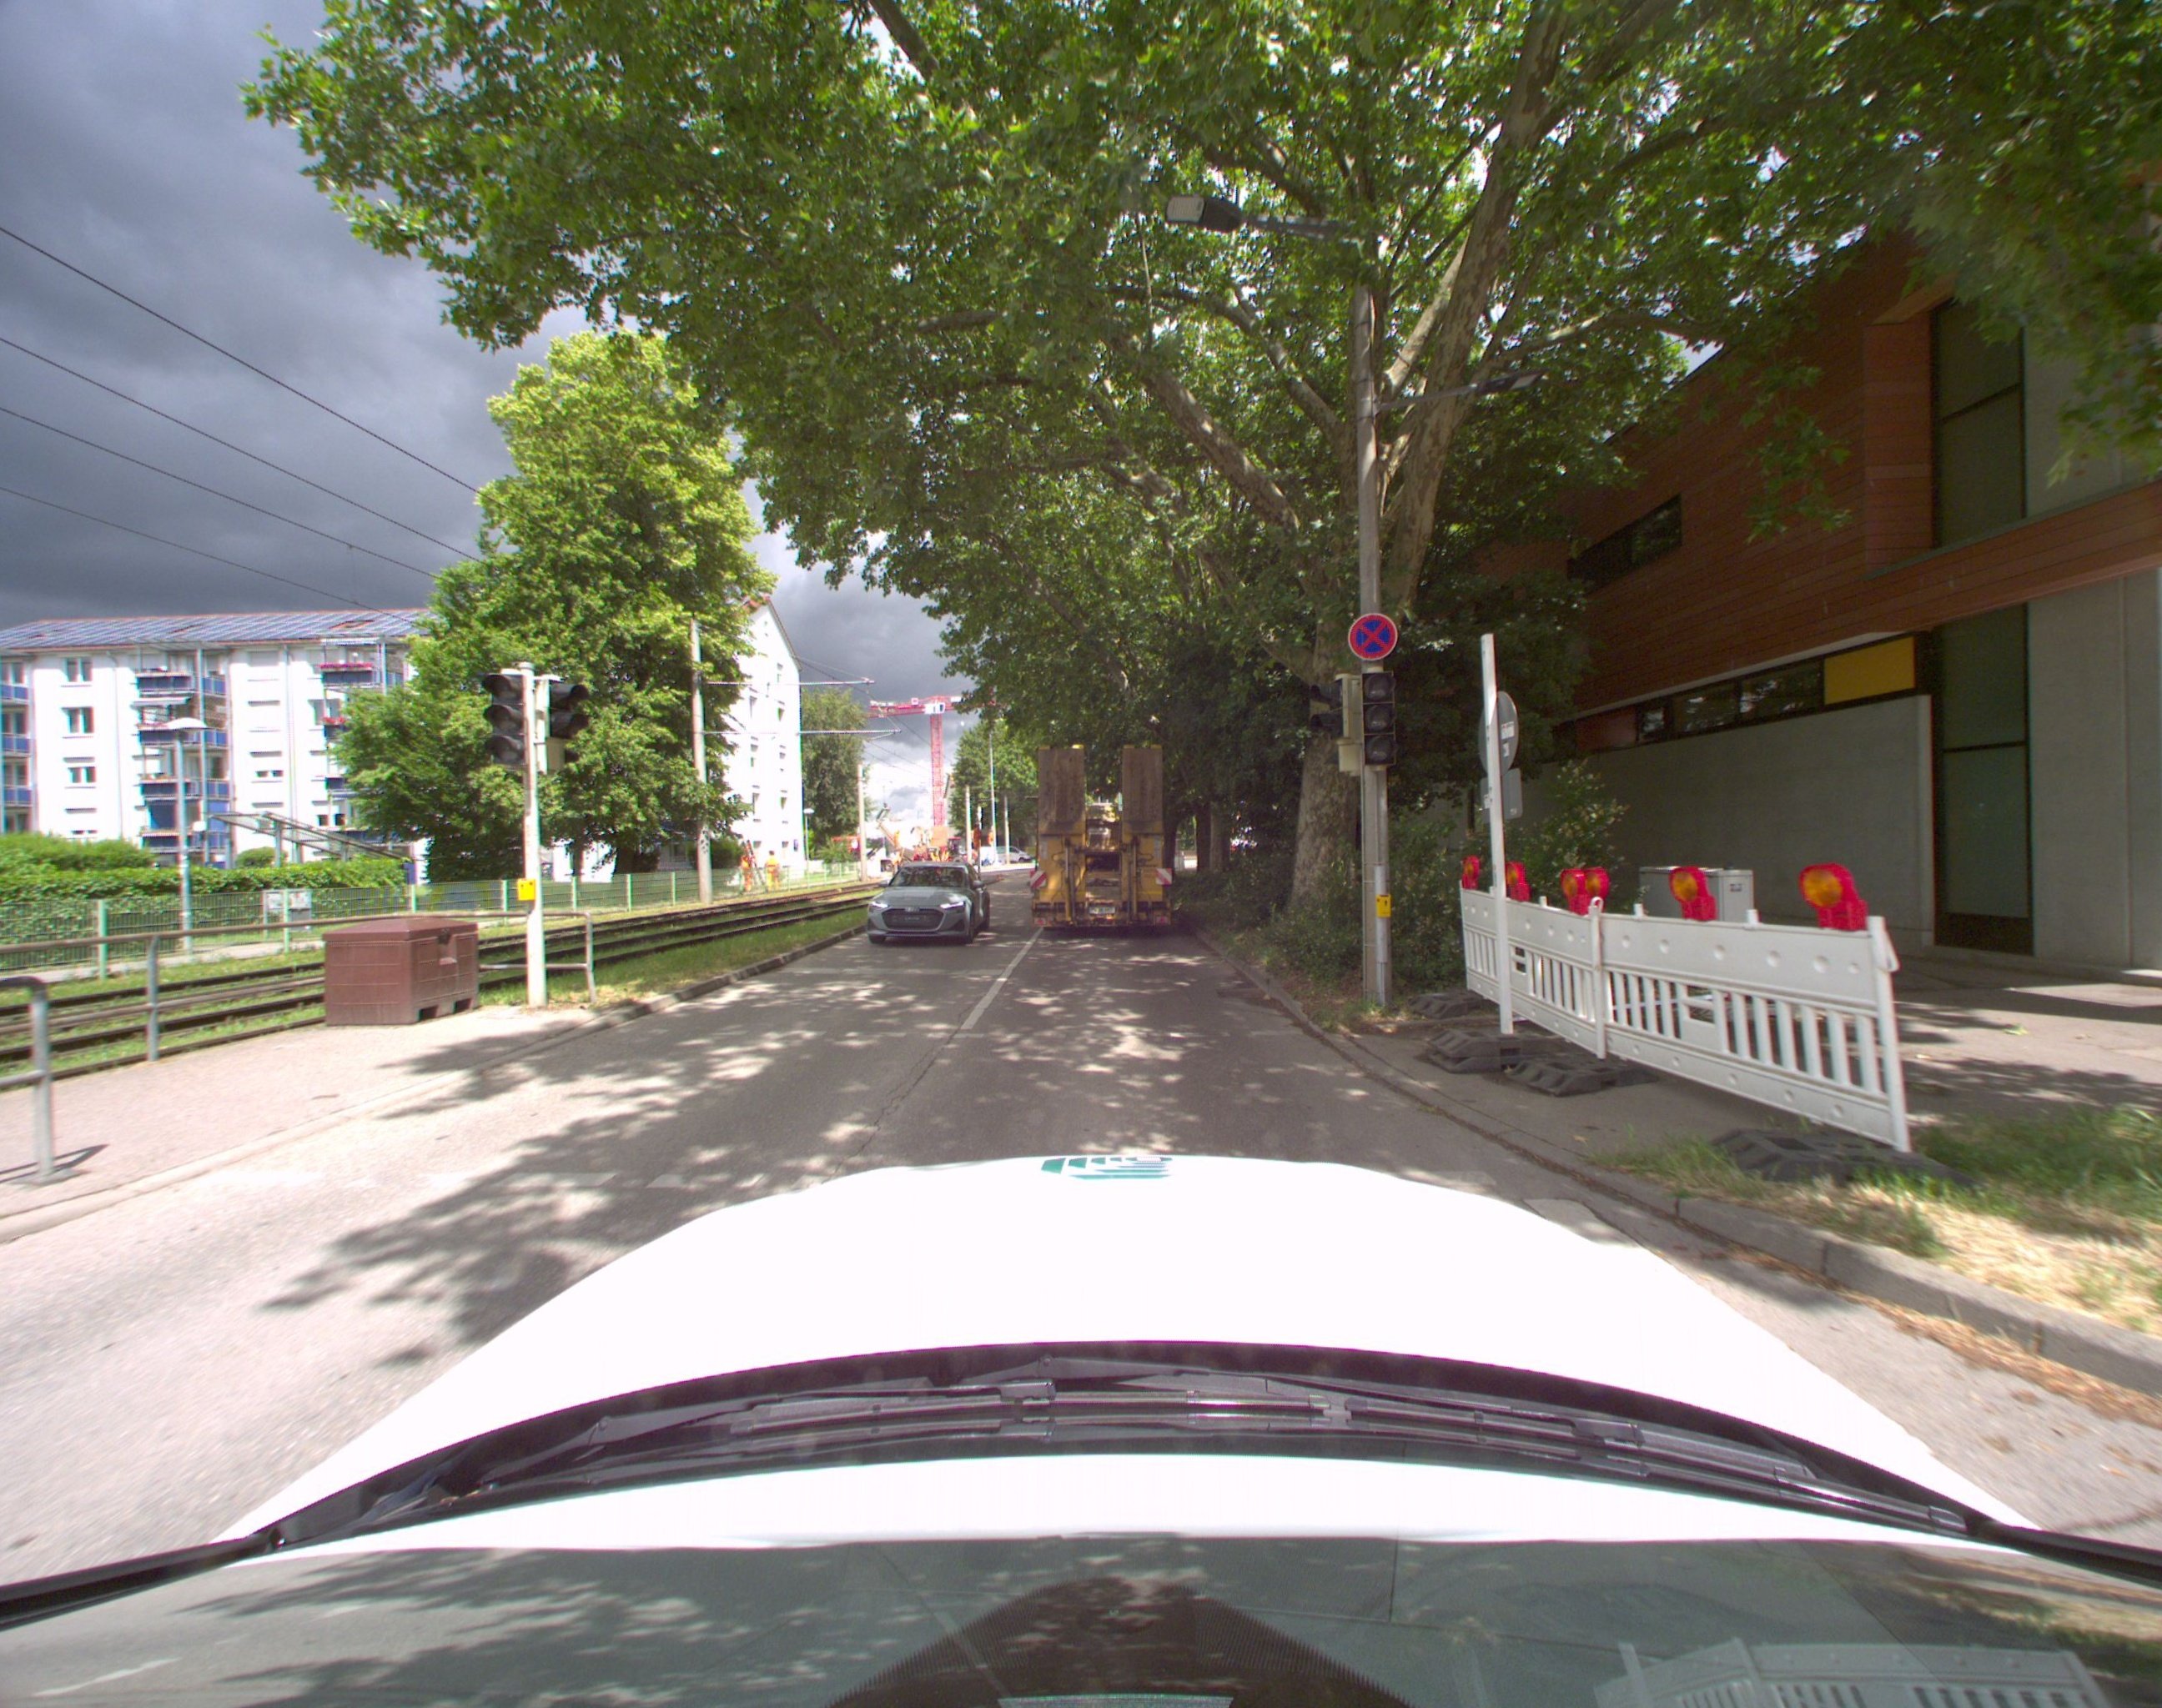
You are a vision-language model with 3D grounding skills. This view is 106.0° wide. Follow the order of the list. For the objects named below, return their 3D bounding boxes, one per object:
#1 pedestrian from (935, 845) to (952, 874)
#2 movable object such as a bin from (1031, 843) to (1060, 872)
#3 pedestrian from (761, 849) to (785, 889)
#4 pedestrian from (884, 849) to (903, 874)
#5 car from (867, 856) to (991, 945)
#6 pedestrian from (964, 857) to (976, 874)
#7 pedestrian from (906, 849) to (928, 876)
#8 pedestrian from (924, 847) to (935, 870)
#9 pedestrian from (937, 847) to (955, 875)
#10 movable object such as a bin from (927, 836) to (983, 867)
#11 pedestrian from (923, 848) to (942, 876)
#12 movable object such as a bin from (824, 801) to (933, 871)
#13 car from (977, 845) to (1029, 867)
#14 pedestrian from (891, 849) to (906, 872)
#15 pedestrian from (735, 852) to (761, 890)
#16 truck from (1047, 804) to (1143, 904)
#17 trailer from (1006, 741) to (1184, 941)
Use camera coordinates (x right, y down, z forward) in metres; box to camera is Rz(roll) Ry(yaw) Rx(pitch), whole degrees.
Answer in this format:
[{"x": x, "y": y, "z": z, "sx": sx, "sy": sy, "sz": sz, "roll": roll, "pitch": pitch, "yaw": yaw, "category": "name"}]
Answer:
[{"x": -8.943, "y": 0.368, "z": 53.028, "sx": 0.890, "sy": 1.867, "sz": 0.829, "roll": 0, "pitch": 0, "yaw": -28, "category": "pedestrian"}, {"x": -2.442, "y": 0.240, "z": 56.875, "sx": 1.389, "sy": 2.013, "sz": 2.565, "roll": -1, "pitch": 0, "yaw": 12, "category": "movable object such as a bin"}, {"x": -13.606, "y": 0.661, "z": 36.003, "sx": 0.697, "sy": 1.718, "sz": 0.867, "roll": -1, "pitch": 0, "yaw": 1, "category": "pedestrian"}, {"x": -12.476, "y": 0.506, "z": 54.246, "sx": 0.827, "sy": 1.645, "sz": 0.893, "roll": -1, "pitch": 0, "yaw": 44, "category": "pedestrian"}, {"x": -2.705, "y": 0.769, "z": 15.312, "sx": 1.631, "sy": 1.435, "sz": 3.850, "roll": -1, "pitch": 0, "yaw": -1, "category": "car"}, {"x": -9.225, "y": 0.969, "z": 67.712, "sx": 0.913, "sy": 1.409, "sz": 0.752, "roll": -1, "pitch": 0, "yaw": -1, "category": "pedestrian"}, {"x": -10.786, "y": 0.568, "z": 53.563, "sx": 1.117, "sy": 1.715, "sz": 0.877, "roll": 0, "pitch": 0, "yaw": -43, "category": "pedestrian"}, {"x": -12.493, "y": 0.368, "z": 67.172, "sx": 0.835, "sy": 1.867, "sz": 0.885, "roll": 0, "pitch": 0, "yaw": -11, "category": "pedestrian"}, {"x": -9.179, "y": 0.464, "z": 55.295, "sx": 0.877, "sy": 1.867, "sz": 0.842, "roll": -1, "pitch": 0, "yaw": 30, "category": "pedestrian"}, {"x": -10.968, "y": -0.192, "z": 70.796, "sx": 4.326, "sy": 2.629, "sz": 2.233, "roll": -1, "pitch": 0, "yaw": 27, "category": "movable object such as a bin"}, {"x": -9.508, "y": 0.520, "z": 52.014, "sx": 0.878, "sy": 1.760, "sz": 0.841, "roll": -1, "pitch": 0, "yaw": 19, "category": "pedestrian"}, {"x": -16.577, "y": -1.367, "z": 66.415, "sx": 9.116, "sy": 5.414, "sz": 2.680, "roll": -1, "pitch": 0, "yaw": 27, "category": "movable object such as a bin"}, {"x": -7.963, "y": 0.206, "z": 82.944, "sx": 5.095, "sy": 2.102, "sz": 1.968, "roll": -1, "pitch": 0, "yaw": -13, "category": "car"}, {"x": -13.013, "y": 0.448, "z": 58.096, "sx": 0.889, "sy": 1.645, "sz": 0.893, "roll": 0, "pitch": 0, "yaw": -22, "category": "pedestrian"}, {"x": -14.526, "y": 0.723, "z": 35.514, "sx": 0.729, "sy": 1.625, "sz": 0.867, "roll": -1, "pitch": 0, "yaw": 1, "category": "pedestrian"}, {"x": 0.533, "y": 0.021, "z": 29.616, "sx": 2.978, "sy": 3.135, "sz": 7.889, "roll": -1, "pitch": 0, "yaw": 1, "category": "truck"}, {"x": 0.331, "y": -0.214, "z": 20.131, "sx": 3.143, "sy": 3.552, "sz": 11.097, "roll": -1, "pitch": 0, "yaw": 1, "category": "trailer"}]
